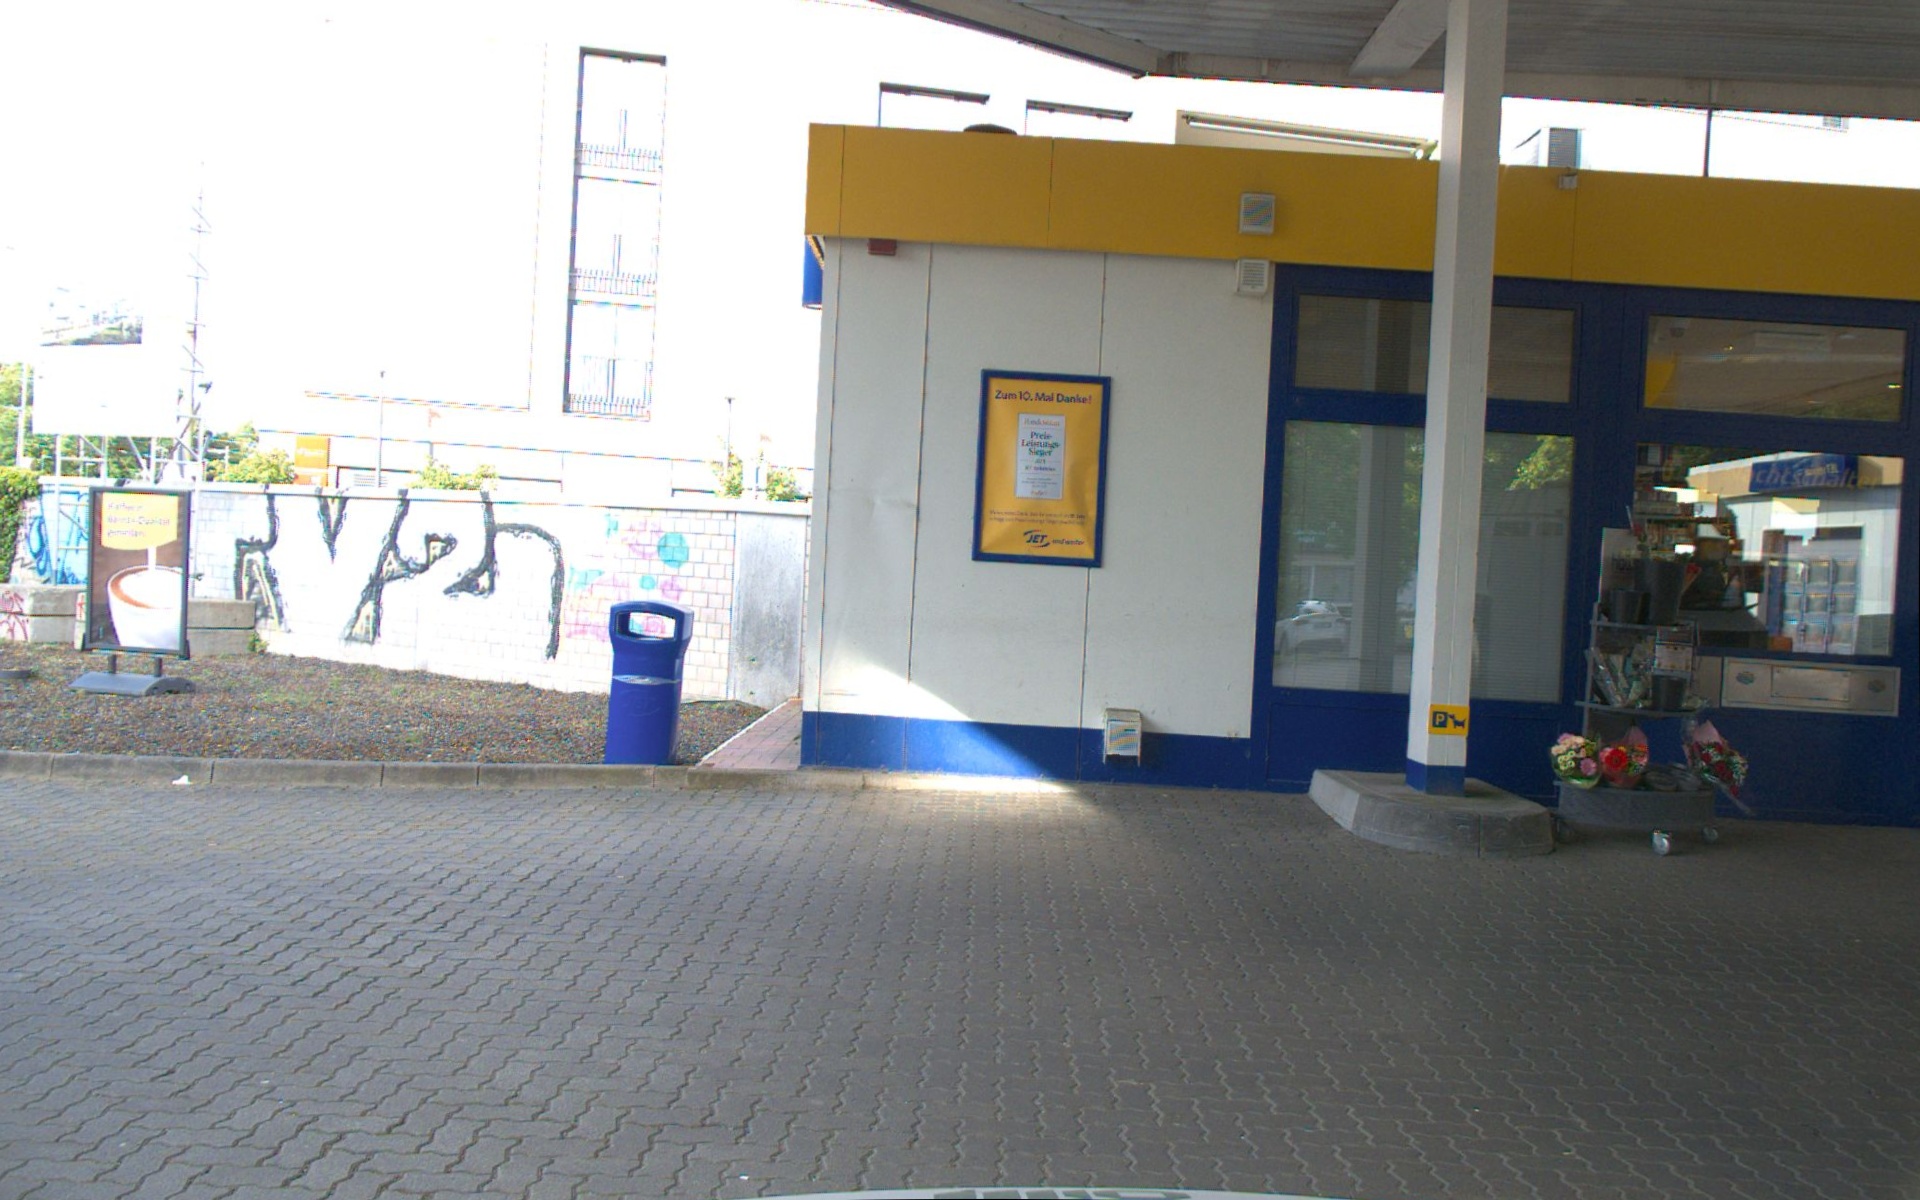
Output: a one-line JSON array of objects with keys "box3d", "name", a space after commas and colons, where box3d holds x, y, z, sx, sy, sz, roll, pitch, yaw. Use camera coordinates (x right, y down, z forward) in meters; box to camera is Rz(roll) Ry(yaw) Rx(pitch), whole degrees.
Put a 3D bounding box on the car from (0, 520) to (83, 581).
[{"box3d": [-26.431, -1.435, 47.293, 1.641, 1.574, 3.693, 4, 1, -17], "name": "car"}]
